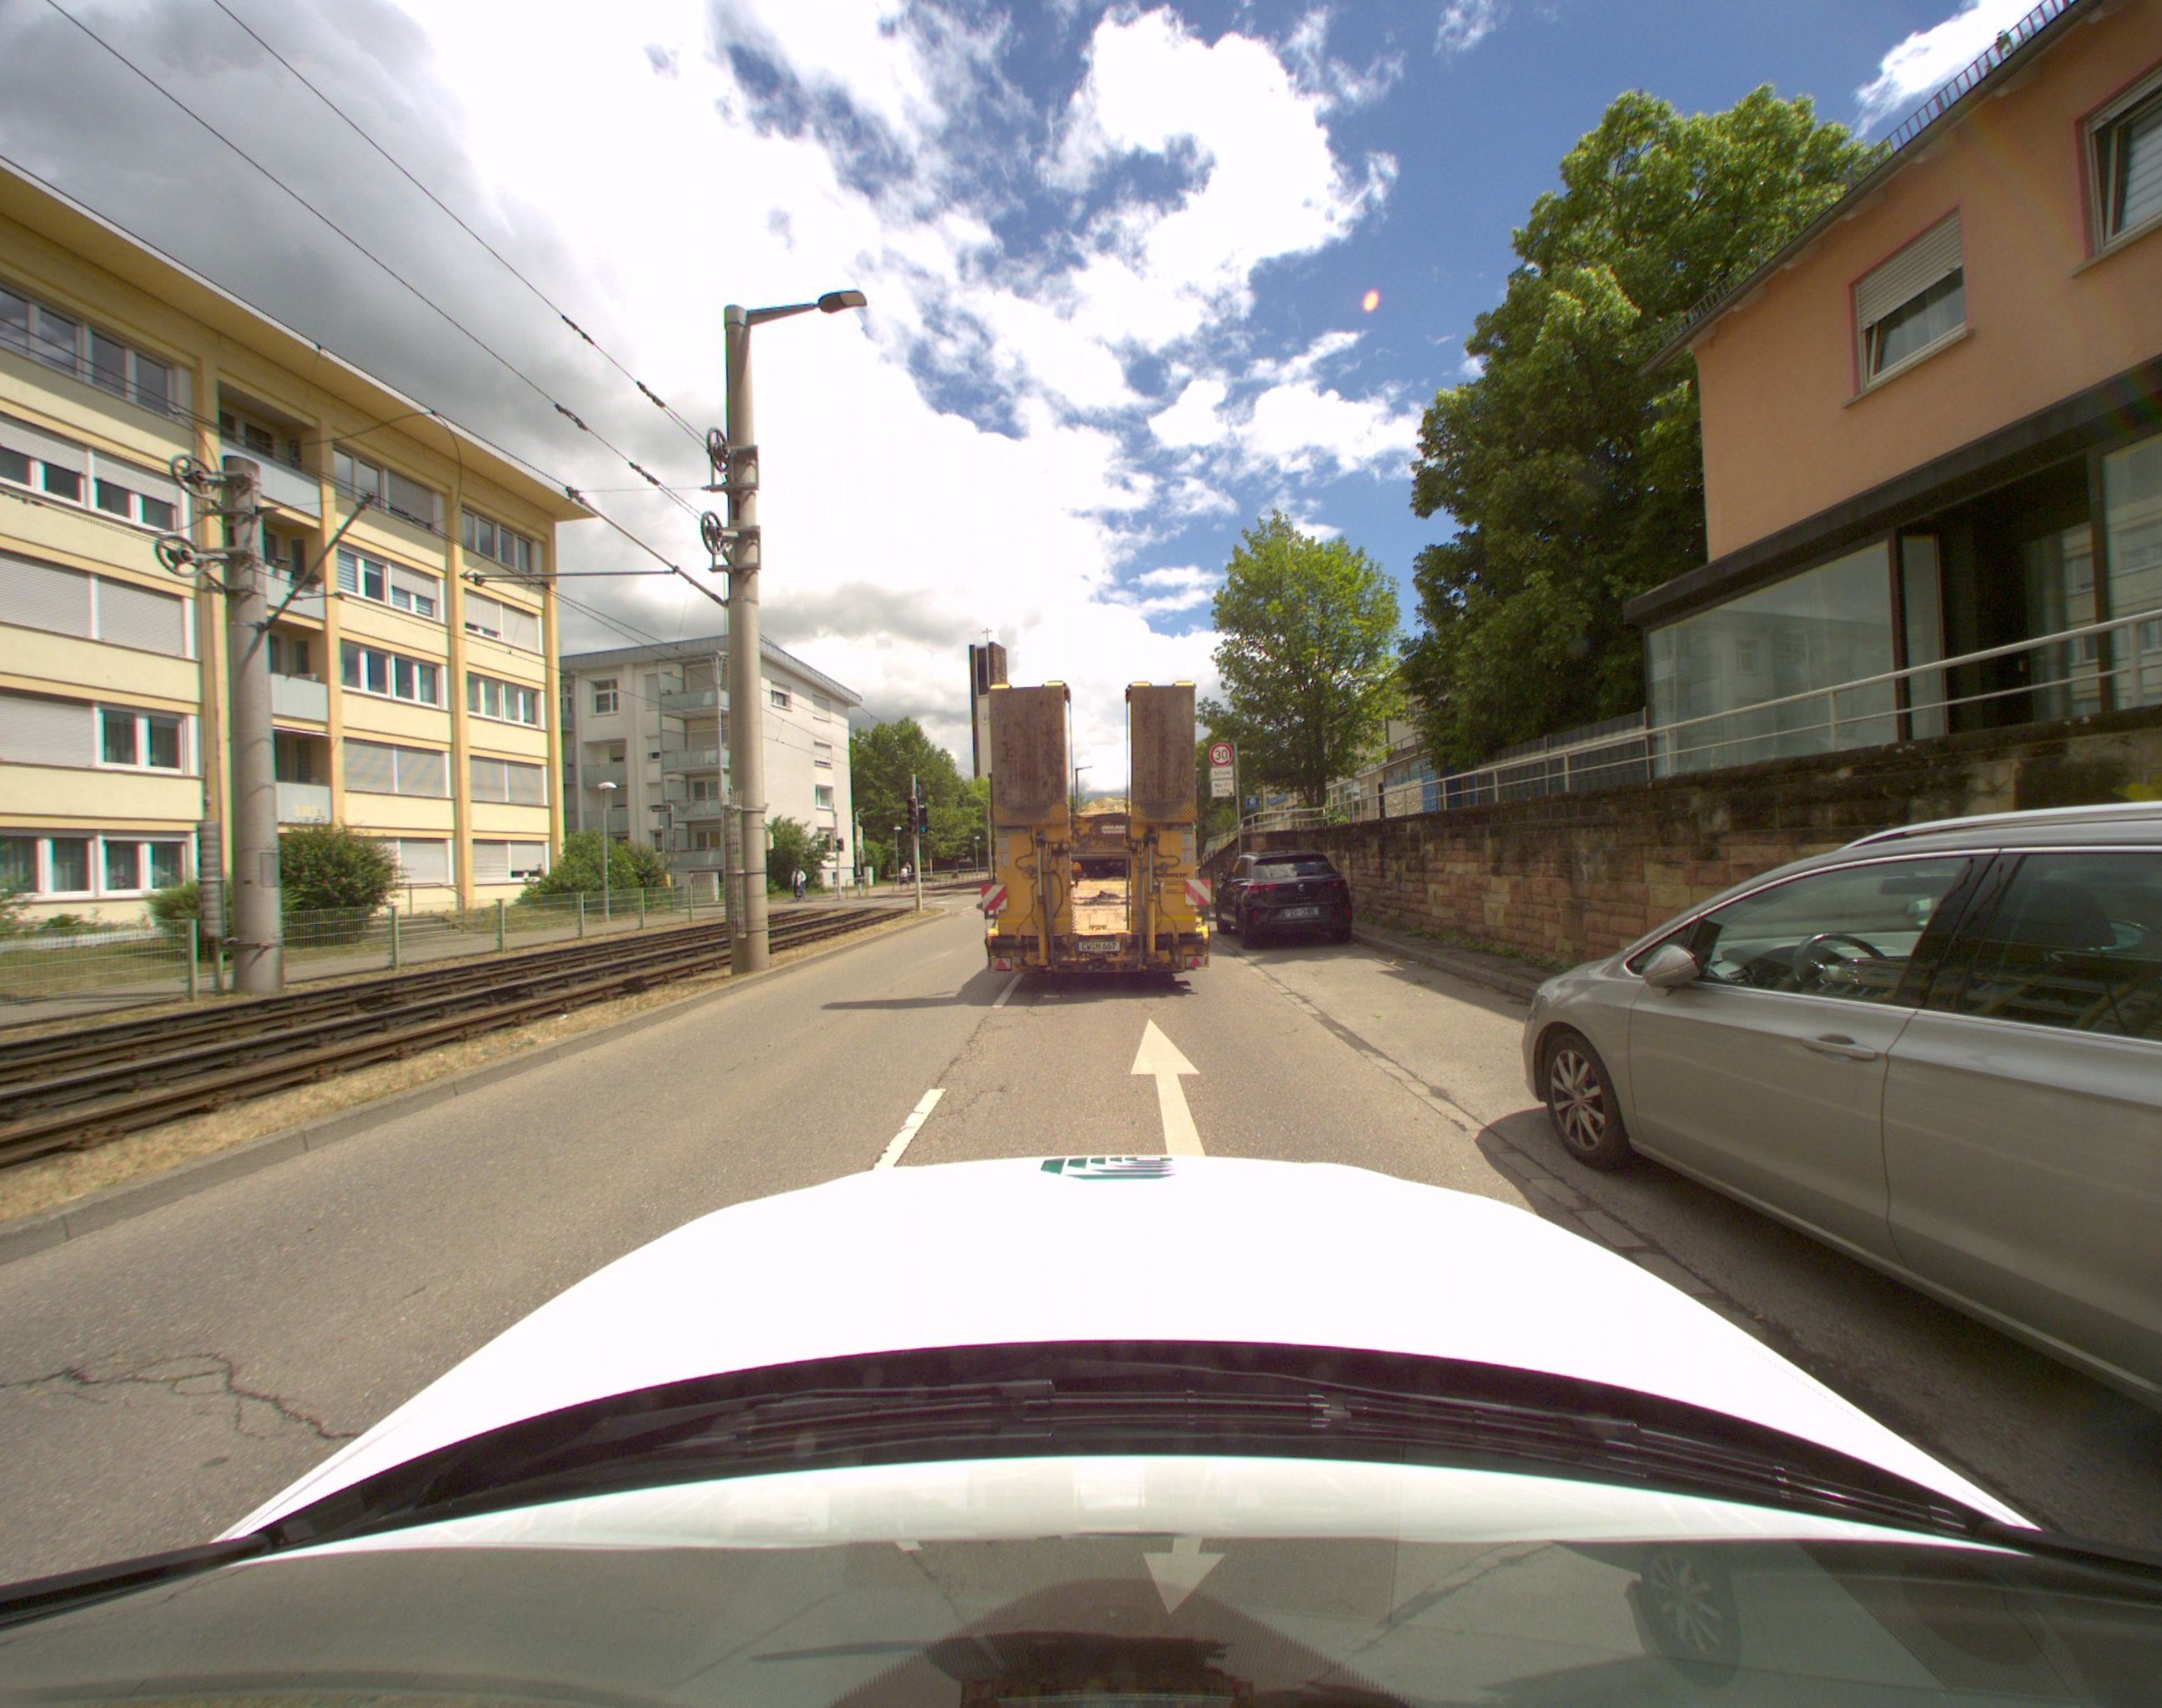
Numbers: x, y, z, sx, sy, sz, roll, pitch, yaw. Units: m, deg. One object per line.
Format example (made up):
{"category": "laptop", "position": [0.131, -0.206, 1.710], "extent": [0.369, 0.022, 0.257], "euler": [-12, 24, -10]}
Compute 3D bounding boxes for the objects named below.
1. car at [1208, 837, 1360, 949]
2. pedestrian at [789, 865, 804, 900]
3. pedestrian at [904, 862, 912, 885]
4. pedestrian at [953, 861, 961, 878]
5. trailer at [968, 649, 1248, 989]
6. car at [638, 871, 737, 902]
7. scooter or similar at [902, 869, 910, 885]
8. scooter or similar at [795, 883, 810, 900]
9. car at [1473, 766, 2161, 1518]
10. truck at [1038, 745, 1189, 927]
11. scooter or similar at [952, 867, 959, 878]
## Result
{"category": "car", "position": [3.468, 0.612, 14.674], "extent": [1.843, 1.639, 4.003], "euler": [-3, 0, 3]}
{"category": "pedestrian", "position": [-13.129, 1.313, 37.600], "extent": [0.435, 1.581, 0.475], "euler": [-2, -1, 7]}
{"category": "pedestrian", "position": [-12.098, 1.364, 57.064], "extent": [0.346, 1.537, 0.558], "euler": [-2, -1, 5]}
{"category": "pedestrian", "position": [-11.250, 1.430, 73.894], "extent": [0.562, 1.514, 0.646], "euler": [0, -1, 1]}
{"category": "trailer", "position": [0.498, -0.364, 13.219], "extent": [2.933, 3.601, 8.689], "euler": [-2, 0, 3]}
{"category": "car", "position": [-19.258, 1.569, 39.945], "extent": [3.963, 1.346, 1.906], "euler": [-2, 0, 9]}
{"category": "scooter or similar", "position": [-12.145, 1.585, 56.436], "extent": [0.336, 1.058, 0.688], "euler": [-2, -1, 5]}
{"category": "scooter or similar", "position": [-12.761, 1.731, 37.293], "extent": [0.435, 0.747, 0.475], "euler": [-2, -1, 7]}
{"category": "car", "position": [3.195, 0.580, 2.642], "extent": [1.783, 1.618, 4.249], "euler": [-3, 0, 1]}
{"category": "truck", "position": [0.774, -0.358, 18.902], "extent": [2.931, 3.572, 4.880], "euler": [-2, 0, 3]}
{"category": "scooter or similar", "position": [-11.287, 1.690, 73.238], "extent": [0.504, 0.971, 0.646], "euler": [0, -1, 1]}
